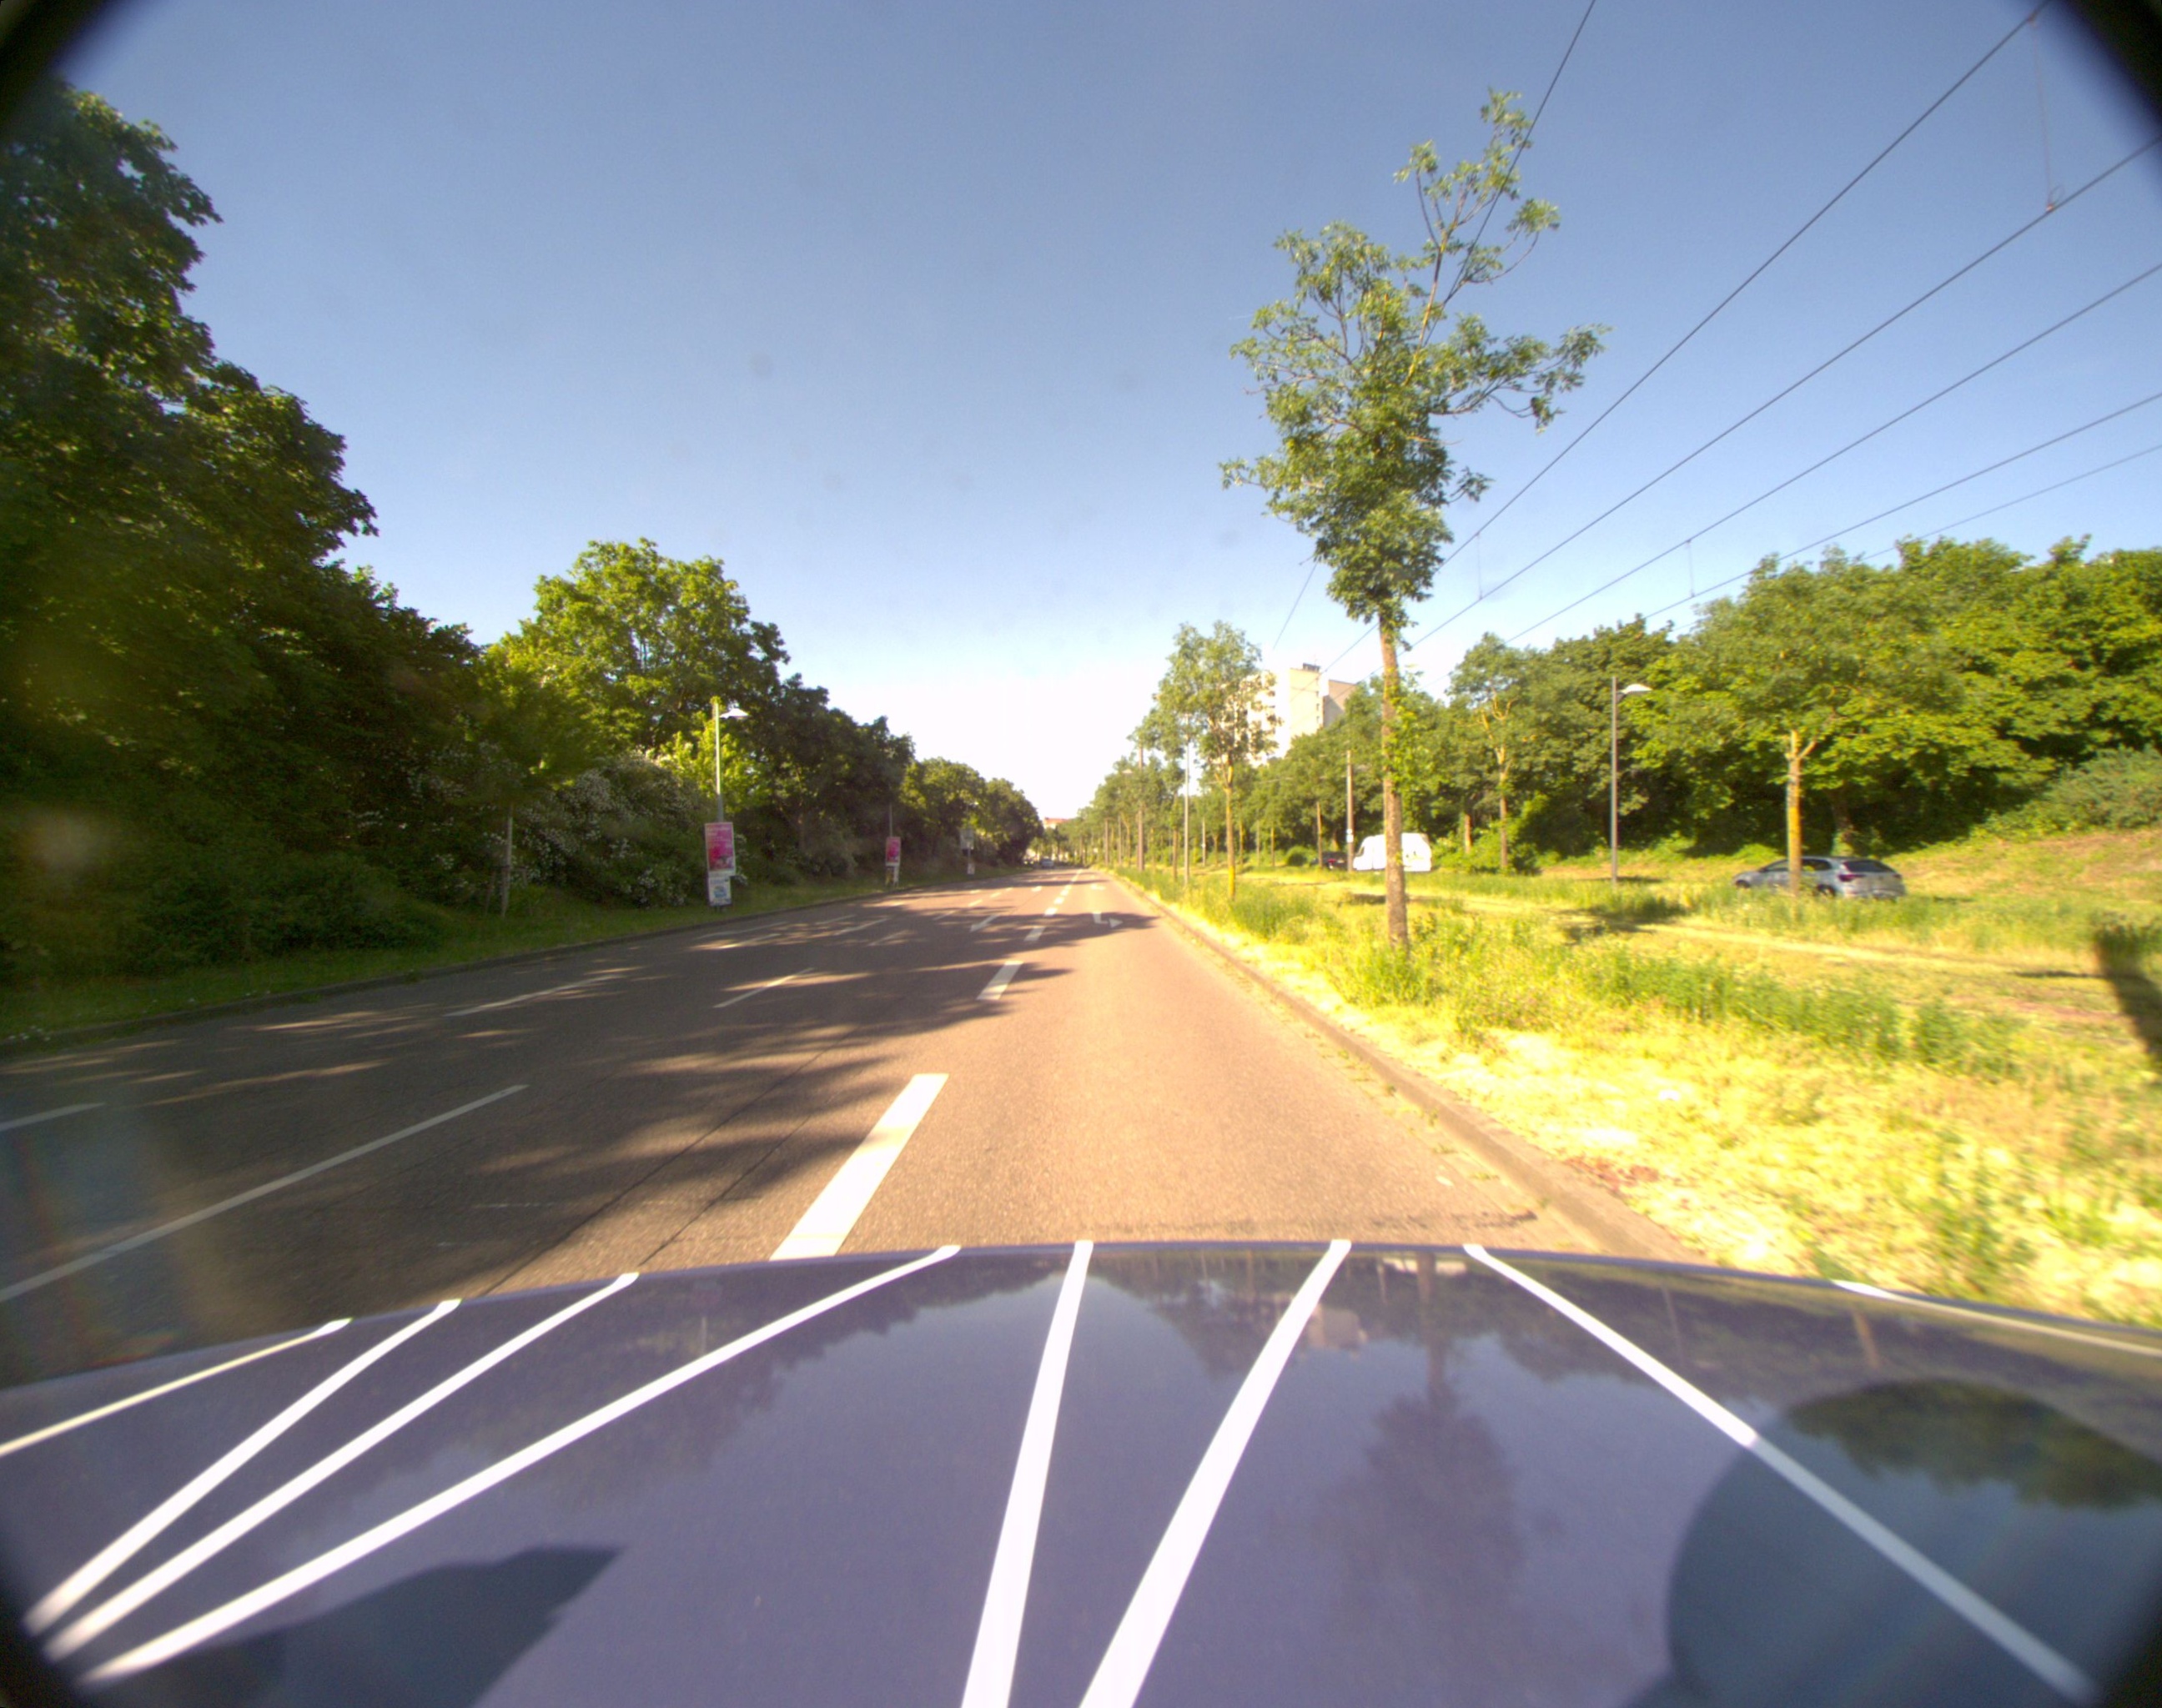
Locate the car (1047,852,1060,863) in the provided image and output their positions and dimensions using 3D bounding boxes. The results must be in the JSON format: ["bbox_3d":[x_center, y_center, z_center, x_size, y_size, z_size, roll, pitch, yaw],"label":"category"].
[{"bbox_3d":[-4.210,0.567,115.660,1.673,1.531,4.060,-4,0,1],"label":"car"}]

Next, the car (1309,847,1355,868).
[{"bbox_3d":[20.102,0.236,61.062,1.998,1.575,5.272,-2,0,0],"label":"car"}]

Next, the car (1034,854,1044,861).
[{"bbox_3d":[-9.271,0.800,167.495,1.831,1.400,4.216,-2,-1,-1],"label":"car"}]

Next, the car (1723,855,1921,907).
[{"bbox_3d":[21.129,0.701,21.927,1.802,1.285,4.000,-2,0,1],"label":"car"}]

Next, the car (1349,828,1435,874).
[{"bbox_3d":[17.702,-0.181,43.702,2.045,2.355,6.879,-2,0,-1],"label":"car"}]
